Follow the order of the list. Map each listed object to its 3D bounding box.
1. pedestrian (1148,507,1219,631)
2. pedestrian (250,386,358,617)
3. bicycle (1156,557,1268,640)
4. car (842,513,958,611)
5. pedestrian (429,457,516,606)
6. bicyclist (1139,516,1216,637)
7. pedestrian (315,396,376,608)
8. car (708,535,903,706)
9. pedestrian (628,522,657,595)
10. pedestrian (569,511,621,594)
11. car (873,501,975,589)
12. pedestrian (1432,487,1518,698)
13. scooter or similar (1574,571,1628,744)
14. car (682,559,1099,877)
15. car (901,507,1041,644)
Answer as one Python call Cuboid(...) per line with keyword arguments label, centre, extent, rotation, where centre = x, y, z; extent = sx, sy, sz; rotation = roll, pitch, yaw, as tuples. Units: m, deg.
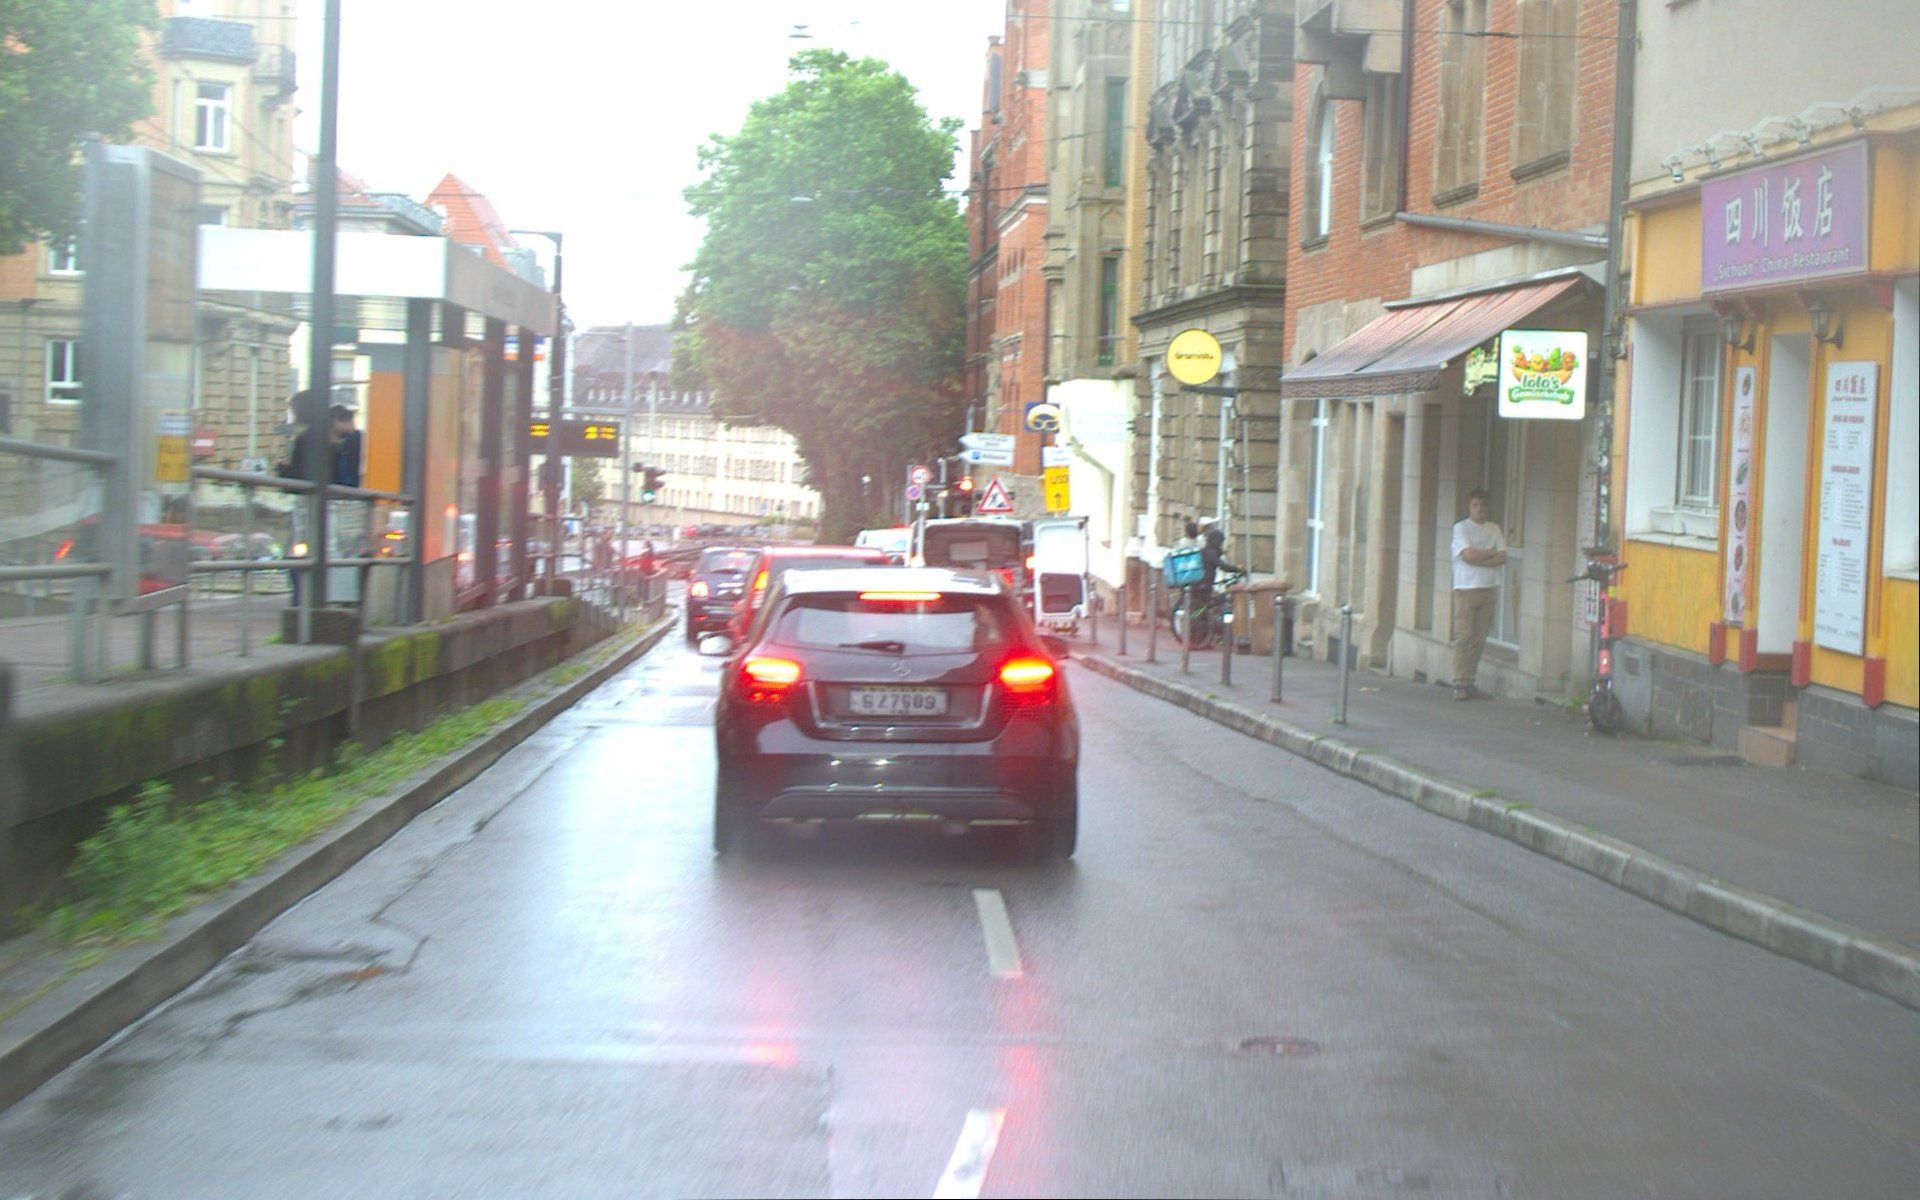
Cuboid(label="pedestrian", centre=(3.202, -0.445, 49.200), extent=(0.686, 1.748, 0.835), rotation=(1, 1, 31))
Cuboid(label="pedestrian", centre=(-4.630, -0.693, 24.292), extent=(0.496, 1.599, 0.636), rotation=(2, 1, 14))
Cuboid(label="bicycle", centre=(3.452, -0.029, 47.041), extent=(1.684, 1.111, 0.464), rotation=(0, 1, -40))
Cuboid(label="car", centre=(-1.230, -0.782, 68.892), extent=(1.933, 1.825, 4.282), rotation=(2, 1, -5))
Cuboid(label="pedestrian", centre=(-4.090, -0.575, 28.866), extent=(0.613, 1.222, 0.507), rotation=(2, 1, 1))
Cuboid(label="bicyclist", centre=(2.992, -0.329, 47.308), extent=(0.848, 1.651, 0.631), rotation=(0, 1, -43))
Cuboid(label="pedestrian", centre=(-4.692, -0.746, 26.249), extent=(0.409, 1.599, 0.450), rotation=(1, 1, -9))
Cuboid(label="car", centre=(-1.518, 0.149, 32.676), extent=(1.679, 1.484, 3.614), rotation=(1, 1, -5))
Cuboid(label="pedestrian", centre=(-6.736, -0.882, 72.891), extent=(0.531, 1.525, 0.437), rotation=(2, 1, -10))
Cuboid(label="pedestrian", centre=(-7.737, -1.009, 72.929), extent=(0.740, 1.718, 0.739), rotation=(3, 1, 44))
Cuboid(label="car", centre=(-0.672, -0.997, 61.534), extent=(1.713, 1.464, 4.281), rotation=(2, 1, -1))
Cuboid(label="pedestrian", centre=(4.533, -0.067, 30.278), extent=(0.577, 1.824, 0.564), rotation=(-2, 0, -5))
Cuboid(label="scooter or similar", centre=(4.699, 0.406, 25.220), extent=(0.257, 1.217, 1.194), rotation=(2, 1, 7))
Cuboid(label="car", centre=(-0.391, 0.527, 17.957), extent=(1.894, 1.385, 4.001), rotation=(2, 1, -2))
Cuboid(label="car", centre=(0.126, -0.397, 52.464), extent=(1.920, 1.929, 4.686), rotation=(2, 1, -2))
